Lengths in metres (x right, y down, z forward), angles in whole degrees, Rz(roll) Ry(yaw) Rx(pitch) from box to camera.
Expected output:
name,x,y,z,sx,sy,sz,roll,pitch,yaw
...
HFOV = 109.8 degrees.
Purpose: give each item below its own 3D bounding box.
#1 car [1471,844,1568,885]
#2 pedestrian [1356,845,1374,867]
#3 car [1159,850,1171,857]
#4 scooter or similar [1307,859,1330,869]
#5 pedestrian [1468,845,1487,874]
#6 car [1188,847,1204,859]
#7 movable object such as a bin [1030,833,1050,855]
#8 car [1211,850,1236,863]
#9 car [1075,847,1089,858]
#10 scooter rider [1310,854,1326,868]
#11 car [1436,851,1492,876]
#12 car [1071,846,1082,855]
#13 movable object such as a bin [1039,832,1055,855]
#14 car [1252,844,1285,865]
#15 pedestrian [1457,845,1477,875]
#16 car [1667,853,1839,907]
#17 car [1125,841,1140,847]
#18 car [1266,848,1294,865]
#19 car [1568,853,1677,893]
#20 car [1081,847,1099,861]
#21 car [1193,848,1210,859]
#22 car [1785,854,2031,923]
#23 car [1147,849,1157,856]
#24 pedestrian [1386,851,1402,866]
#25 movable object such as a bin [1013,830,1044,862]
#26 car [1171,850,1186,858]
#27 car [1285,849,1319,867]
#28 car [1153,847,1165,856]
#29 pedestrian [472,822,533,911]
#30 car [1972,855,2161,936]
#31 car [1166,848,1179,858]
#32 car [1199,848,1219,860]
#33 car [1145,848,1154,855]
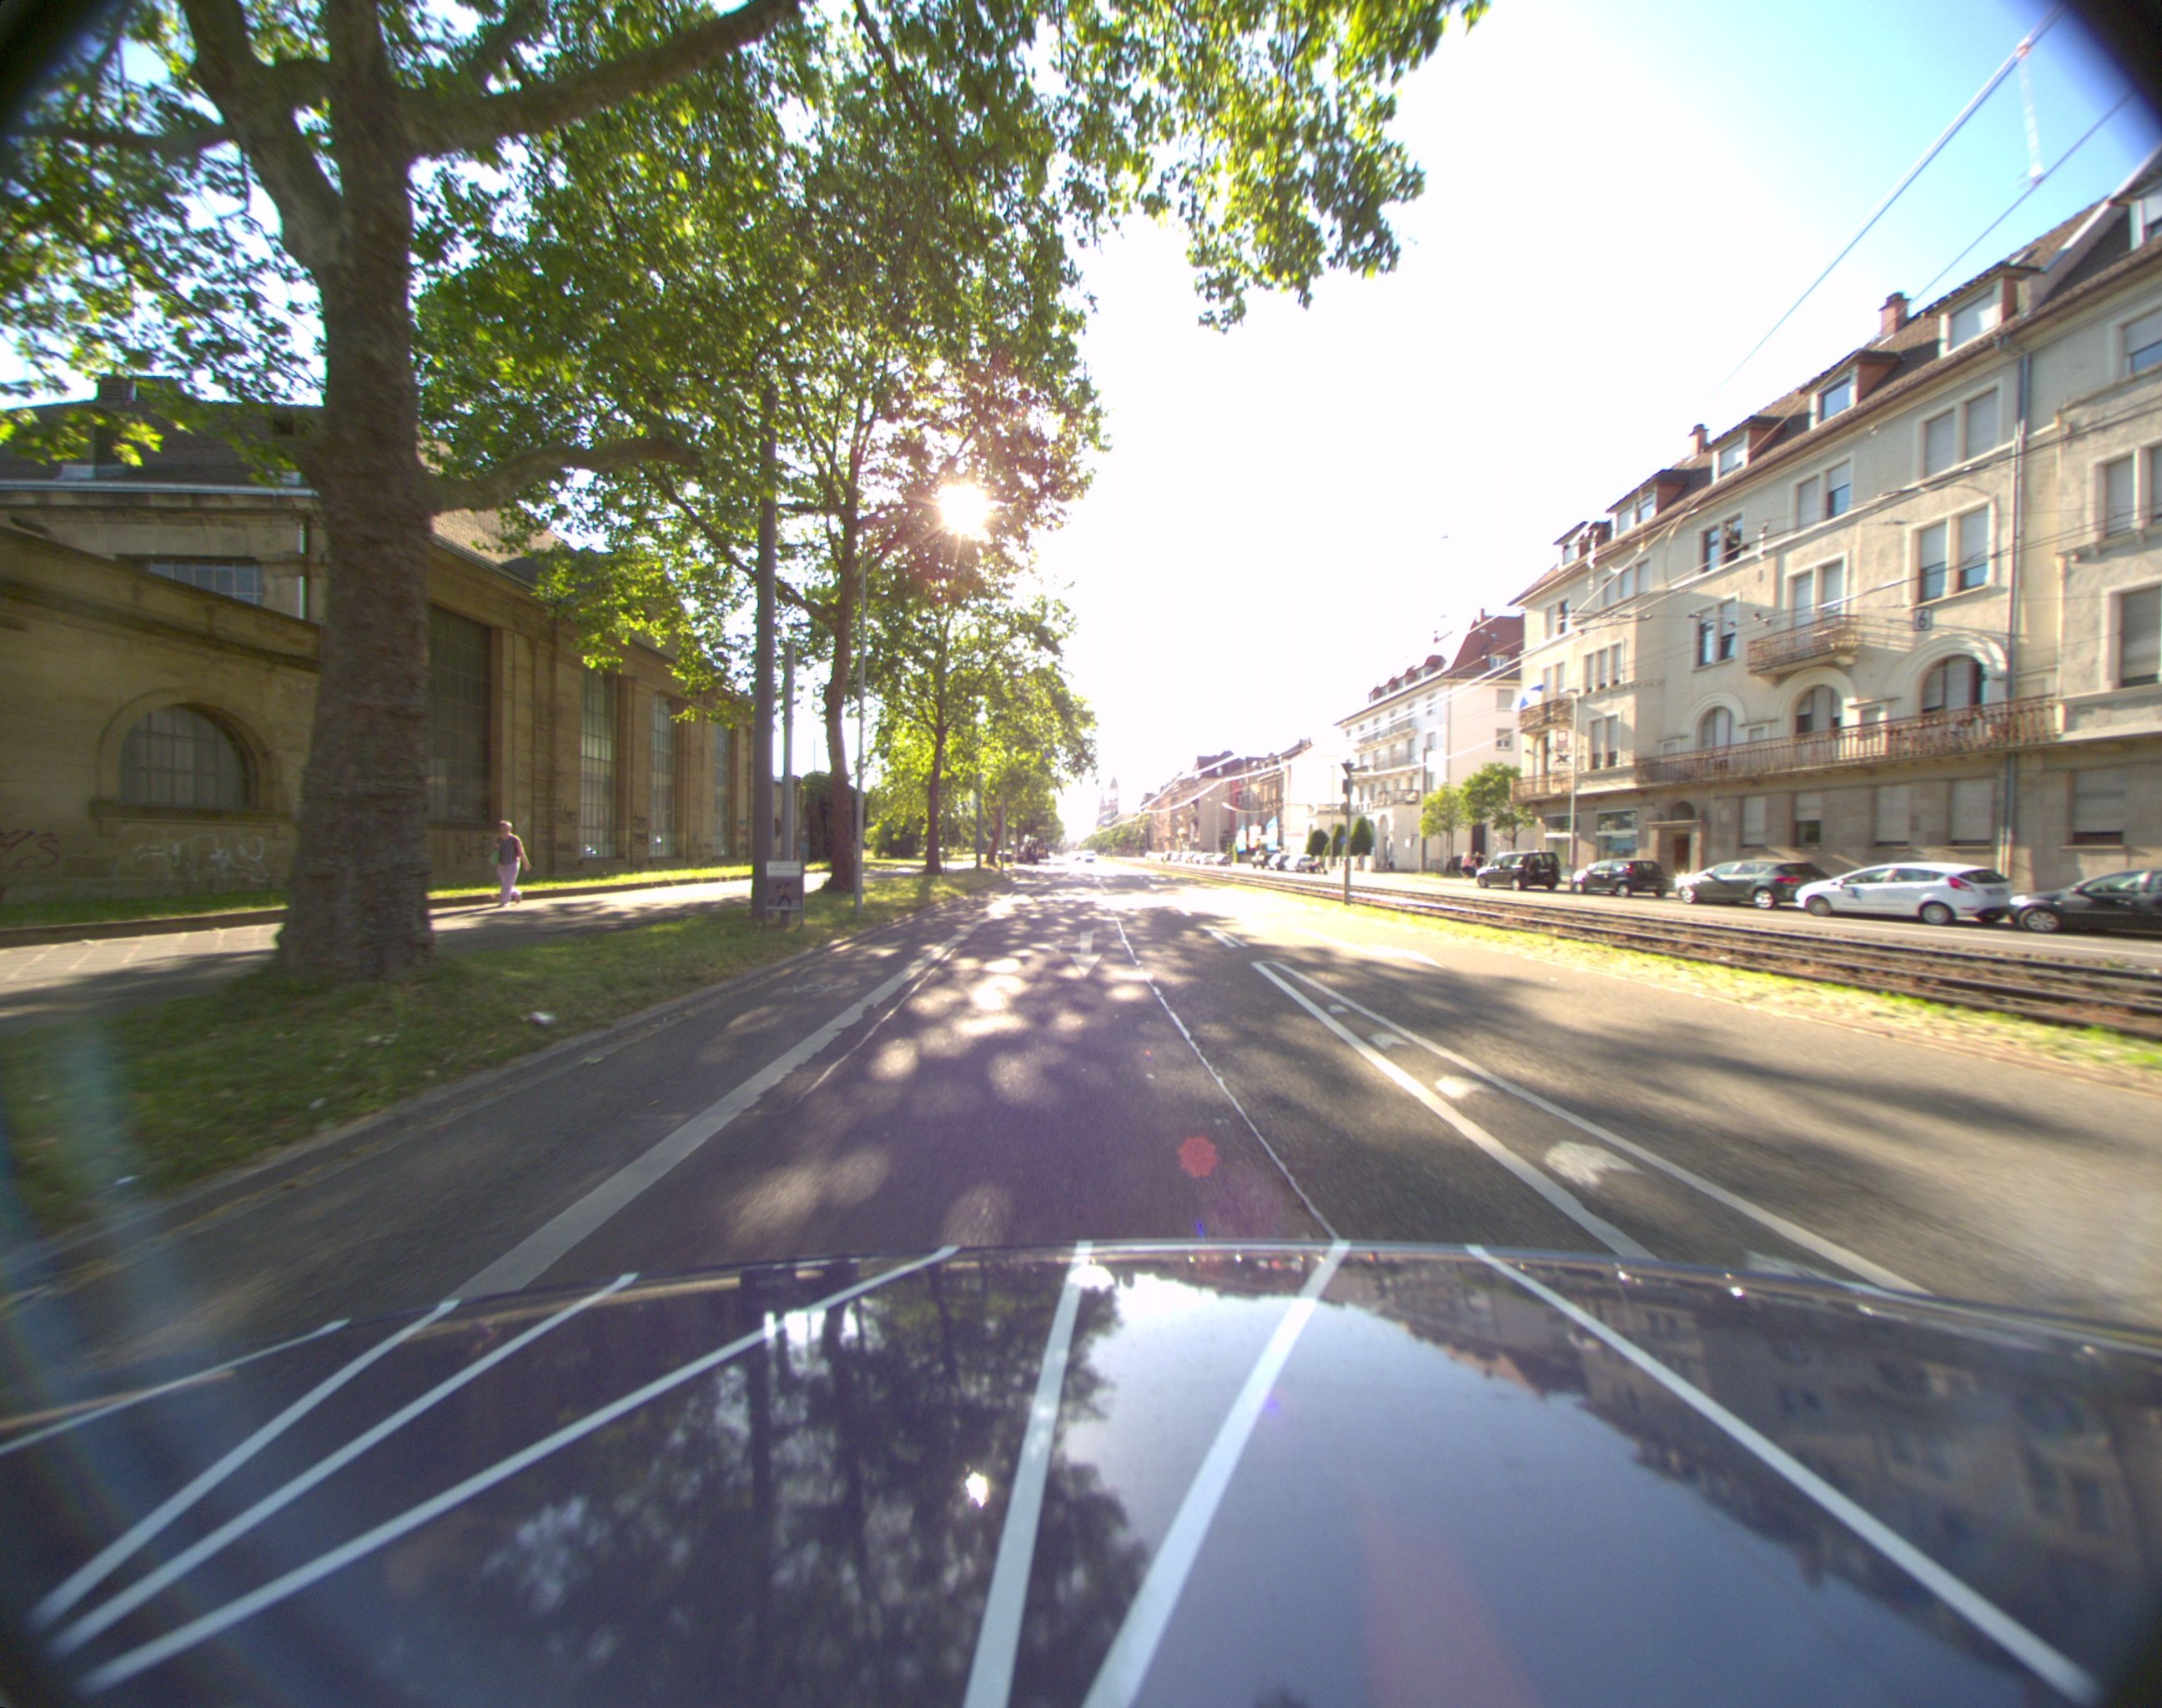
name,x,y,z,sx,sy,sz,roll,pitch,yaw
car,20.606,0.471,35.924,1.867,1.776,4.400,-1,0,-3
pedestrian,23.335,0.140,62.515,0.995,1.768,0.933,-2,2,-16
car,16.530,-0.121,149.660,1.664,1.437,3.979,-1,1,-2
scooter or similar,18.985,0.774,60.744,1.565,0.766,0.810,2,1,29
pedestrian,23.372,0.327,44.769,0.592,1.687,0.855,-3,2,-40
car,18.040,-0.140,119.402,1.925,1.770,4.498,-1,0,0
movable object such as a bin,-7.684,-1.849,141.352,3.348,3.953,7.594,3,1,-4
car,18.460,0.263,98.757,1.926,1.452,4.840,-5,1,-3
car,0.118,-0.259,109.365,1.799,1.501,3.999,-1,0,-2
scooter rider,18.951,0.578,60.758,0.976,1.083,0.810,2,1,29
car,28.654,0.666,56.997,1.799,1.632,4.259,1,2,-2
car,-0.766,-0.569,135.504,1.799,1.501,3.999,-1,0,-2
movable object such as a bin,-7.303,-2.211,161.287,2.923,4.584,7.594,3,1,-4
car,19.503,0.025,79.267,2.082,1.998,5.591,-1,1,0
pedestrian,22.664,0.345,44.602,0.592,1.687,0.855,-3,2,-40
car,21.113,0.737,24.125,1.639,1.460,4.157,-3,1,-2
car,14.881,-2.946,220.445,3.991,1.502,1.802,-1,2,19
car,19.101,0.219,73.015,1.639,1.499,4.158,-1,1,0
car,21.271,0.709,30.007,1.632,1.383,3.507,-3,1,-3
car,1.035,-0.036,85.865,1.799,1.501,3.999,-1,0,-2
car,18.020,-0.079,113.817,1.925,1.551,4.842,-1,0,1
car,20.900,0.789,19.469,1.640,1.460,3.980,-5,1,-8
car,15.953,-0.390,170.517,1.664,1.437,3.764,-1,1,-2
pedestrian,25.333,0.379,61.559,0.879,1.180,0.894,-2,2,-10
movable object such as a bin,-5.618,-0.859,81.934,2.751,3.127,7.218,4,0,-1
car,17.684,-0.027,137.627,1.926,1.529,4.626,0,1,-2
car,19.578,0.318,67.520,1.799,1.502,3.999,-1,1,0
car,16.342,-0.473,159.144,1.799,1.797,3.998,-1,1,-3
pedestrian,-11.475,0.242,15.088,0.610,1.672,0.636,5,1,-4
car,21.380,0.795,15.351,1.640,1.460,4.156,-3,1,-6
car,17.420,-0.244,144.327,1.664,1.797,4.726,-1,1,-3
car,18.183,-0.003,108.074,1.925,1.685,4.841,-1,0,0
car,15.831,-0.565,175.209,1.799,1.633,4.630,-1,1,1
